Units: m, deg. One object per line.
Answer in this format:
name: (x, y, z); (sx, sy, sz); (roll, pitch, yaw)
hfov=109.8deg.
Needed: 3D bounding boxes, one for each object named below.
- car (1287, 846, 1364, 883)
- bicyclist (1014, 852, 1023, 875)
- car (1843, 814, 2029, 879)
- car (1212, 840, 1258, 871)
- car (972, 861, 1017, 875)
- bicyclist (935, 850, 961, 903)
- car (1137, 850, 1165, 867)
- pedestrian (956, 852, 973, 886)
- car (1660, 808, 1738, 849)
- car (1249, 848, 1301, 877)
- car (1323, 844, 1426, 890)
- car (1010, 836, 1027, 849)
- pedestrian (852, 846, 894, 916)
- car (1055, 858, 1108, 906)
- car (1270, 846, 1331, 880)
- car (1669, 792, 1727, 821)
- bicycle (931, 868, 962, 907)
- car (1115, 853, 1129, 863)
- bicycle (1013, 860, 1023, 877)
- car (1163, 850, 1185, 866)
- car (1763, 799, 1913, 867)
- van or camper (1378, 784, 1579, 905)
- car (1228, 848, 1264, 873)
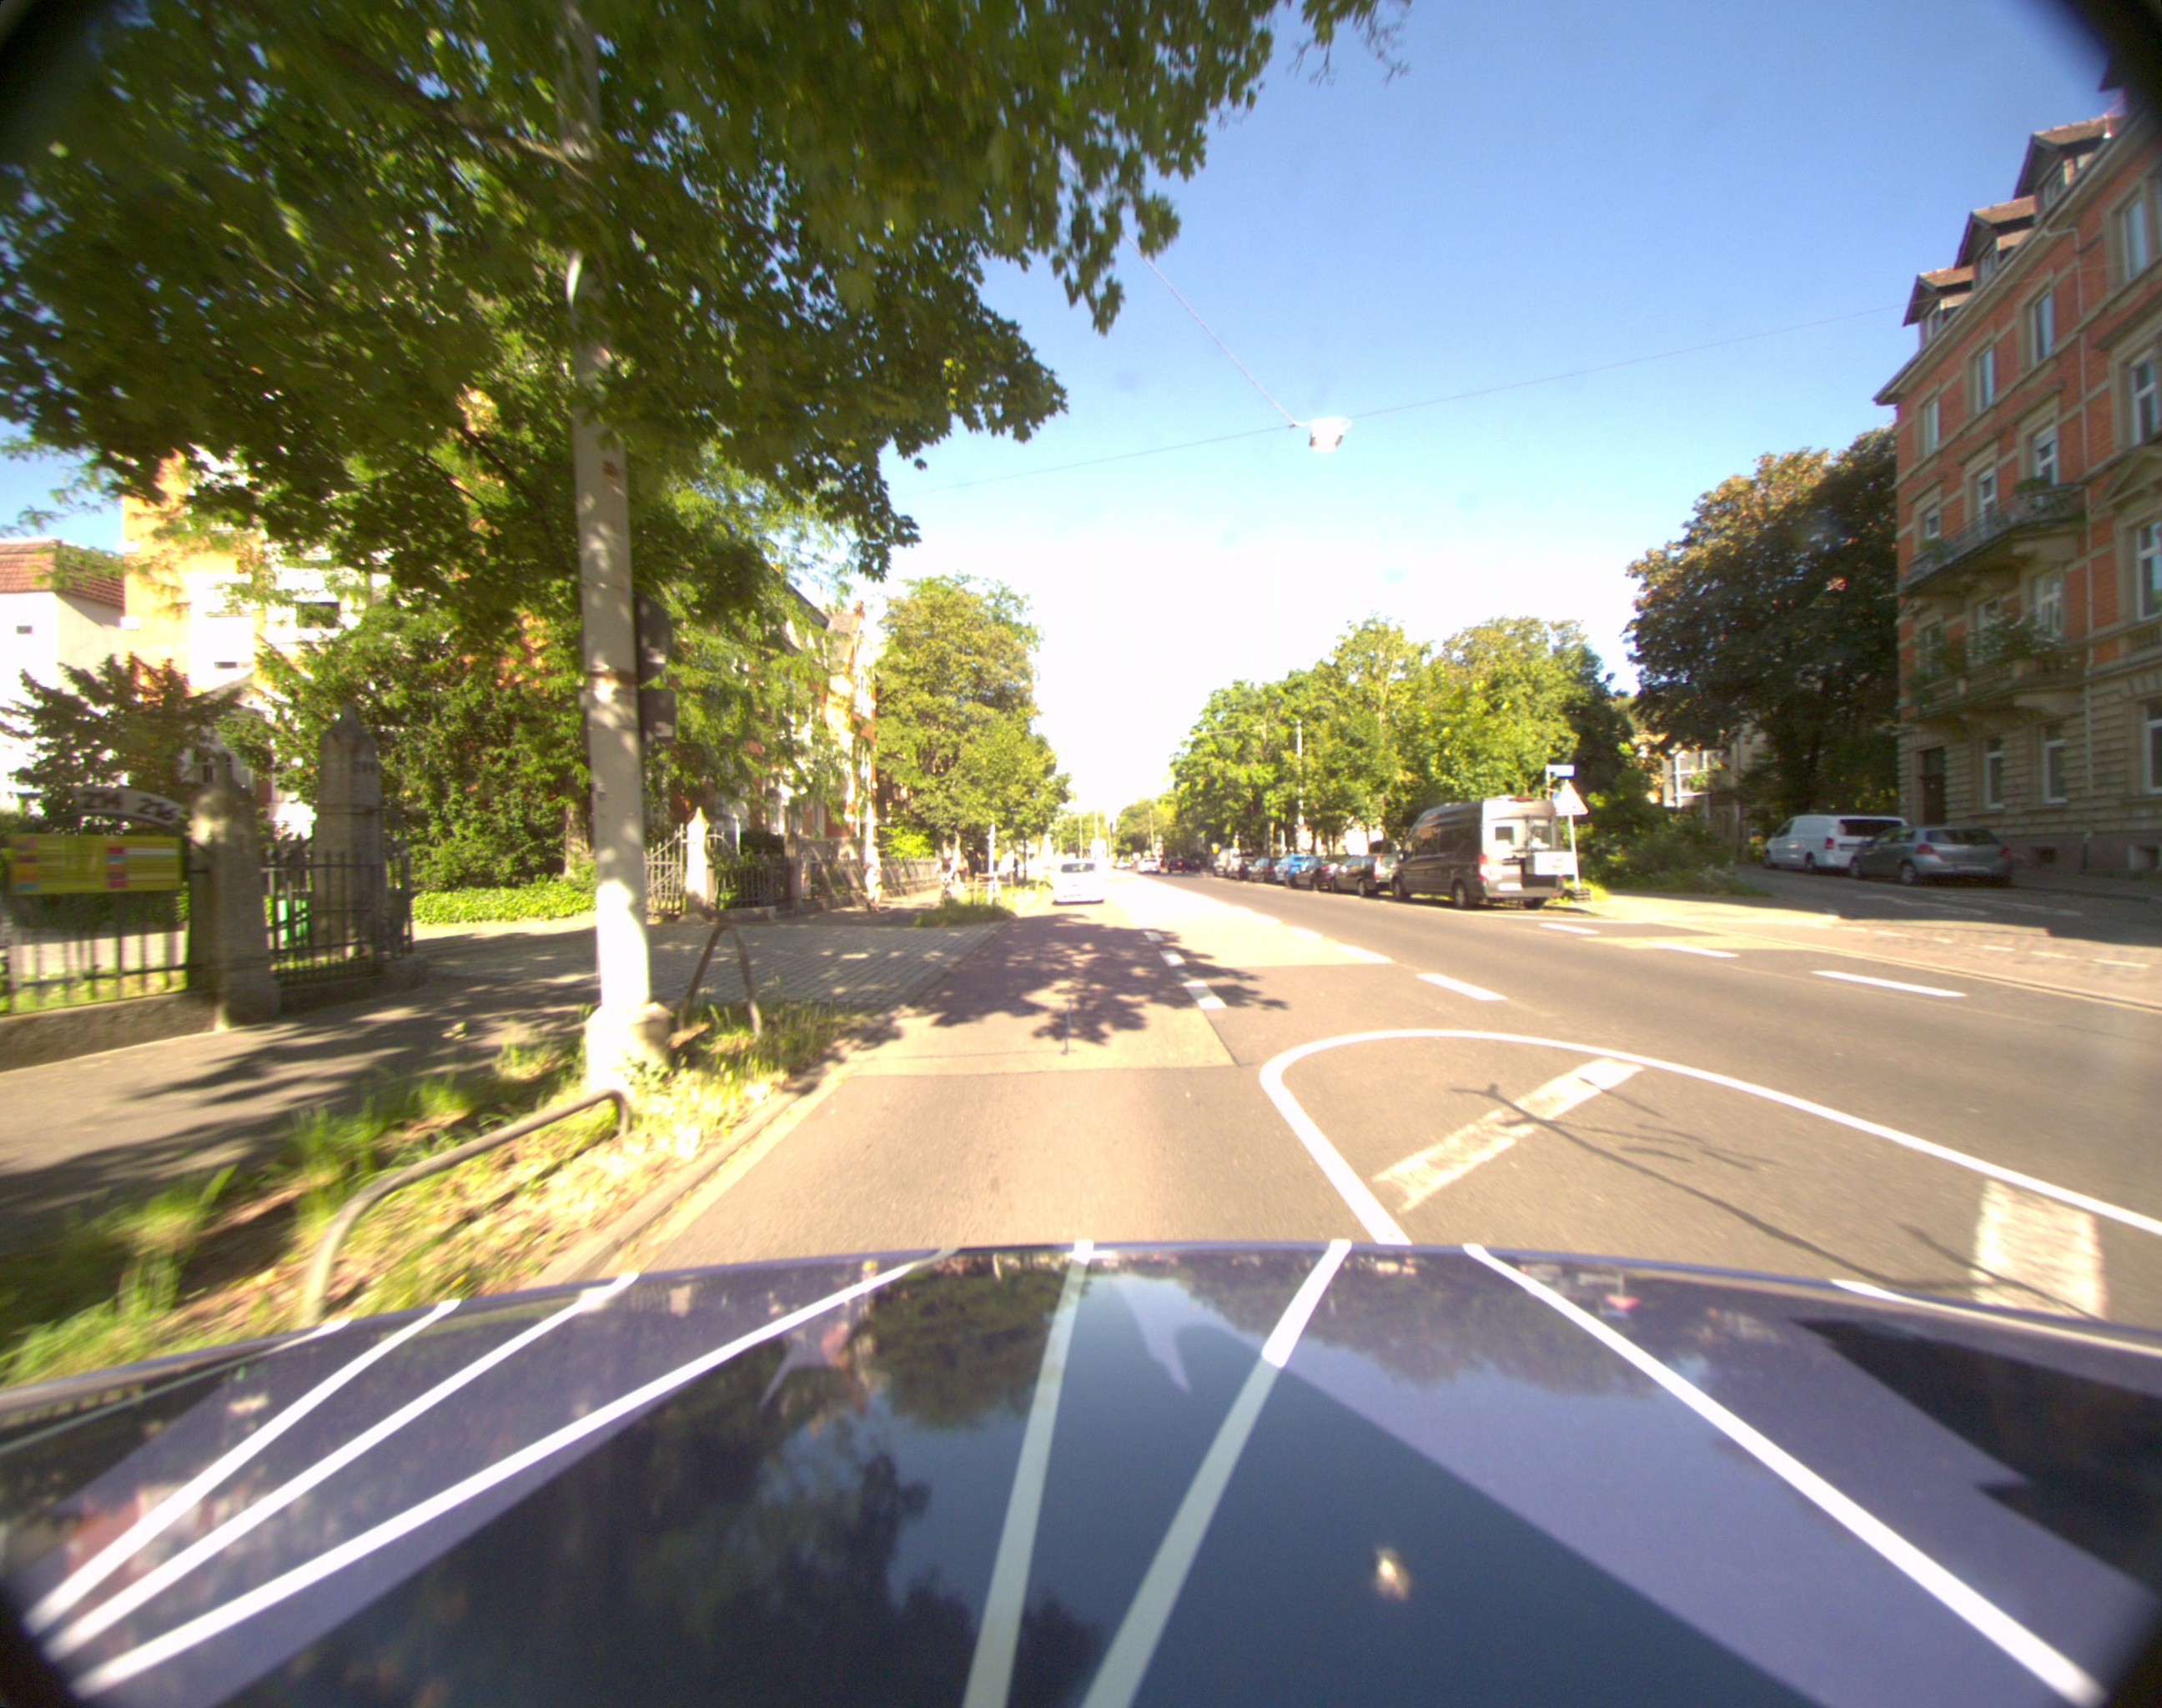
car: (10.035, 0.410, 31.518); (1.785, 1.405, 4.405); (0, 0, 0)
bicyclist: (-4.594, 0.711, 55.711); (0.622, 1.680, 0.820); (2, 0, -3)
car: (21.514, -0.227, 19.344); (1.860, 1.504, 3.535); (0, 2, 25)
car: (10.752, 0.117, 53.352); (1.989, 2.024, 4.873); (1, 0, -4)
car: (-8.889, 1.458, 78.516); (4.417, 1.409, 2.047); (0, 0, 1)
bicyclist: (-4.310, 0.718, 24.622); (0.647, 1.685, 0.889); (2, 0, 0)
car: (6.237, 0.387, 68.485); (1.923, 1.411, 4.224); (-1, 0, -3)
pedestrian: (-5.760, 0.754, 37.652); (0.696, 1.649, 0.820); (2, 1, -1)
car: (30.184, -1.241, 37.261); (1.860, 1.903, 4.458); (0, 2, 25)
car: (10.551, 0.418, 41.630); (1.594, 1.474, 4.270); (0, 1, -3)
car: (10.103, 0.420, 26.548); (1.698, 1.448, 4.663); (0, 0, -1)
car: (-7.321, -1.360, 89.409); (1.847, 1.432, 4.104); (1, 0, -4)
pedestrian: (-5.441, 0.691, 19.921); (0.749, 1.777, 0.811); (2, 1, 9)
car: (0.075, 0.895, 25.999); (1.652, 1.449, 3.897); (-1, 0, 2)
car: (10.605, 0.398, 37.087); (1.784, 1.529, 4.559); (-1, 0, 2)
car: (62.727, -4.761, 77.322); (1.893, 2.607, 4.917); (-1, 0, 0)
bicycle: (-4.322, 1.048, 24.549); (0.654, 1.169, 1.843); (2, 0, 0)
car: (6.296, 0.569, 116.872); (1.843, 1.482, 3.779); (-1, 0, -4)
bicycle: (-4.607, 1.058, 55.737); (0.617, 1.169, 1.918); (2, 0, -4)
car: (8.923, 0.360, 72.918); (1.596, 1.441, 4.133); (-1, 0, 0)
car: (23.454, -0.668, 23.770); (1.860, 1.903, 4.458); (0, 2, 25)
van or camper: (10.339, -0.211, 20.513); (2.222, 2.723, 6.088); (-1, 0, 0)
car: (10.463, 0.400, 48.294); (1.467, 1.493, 3.958); (0, 1, 1)
